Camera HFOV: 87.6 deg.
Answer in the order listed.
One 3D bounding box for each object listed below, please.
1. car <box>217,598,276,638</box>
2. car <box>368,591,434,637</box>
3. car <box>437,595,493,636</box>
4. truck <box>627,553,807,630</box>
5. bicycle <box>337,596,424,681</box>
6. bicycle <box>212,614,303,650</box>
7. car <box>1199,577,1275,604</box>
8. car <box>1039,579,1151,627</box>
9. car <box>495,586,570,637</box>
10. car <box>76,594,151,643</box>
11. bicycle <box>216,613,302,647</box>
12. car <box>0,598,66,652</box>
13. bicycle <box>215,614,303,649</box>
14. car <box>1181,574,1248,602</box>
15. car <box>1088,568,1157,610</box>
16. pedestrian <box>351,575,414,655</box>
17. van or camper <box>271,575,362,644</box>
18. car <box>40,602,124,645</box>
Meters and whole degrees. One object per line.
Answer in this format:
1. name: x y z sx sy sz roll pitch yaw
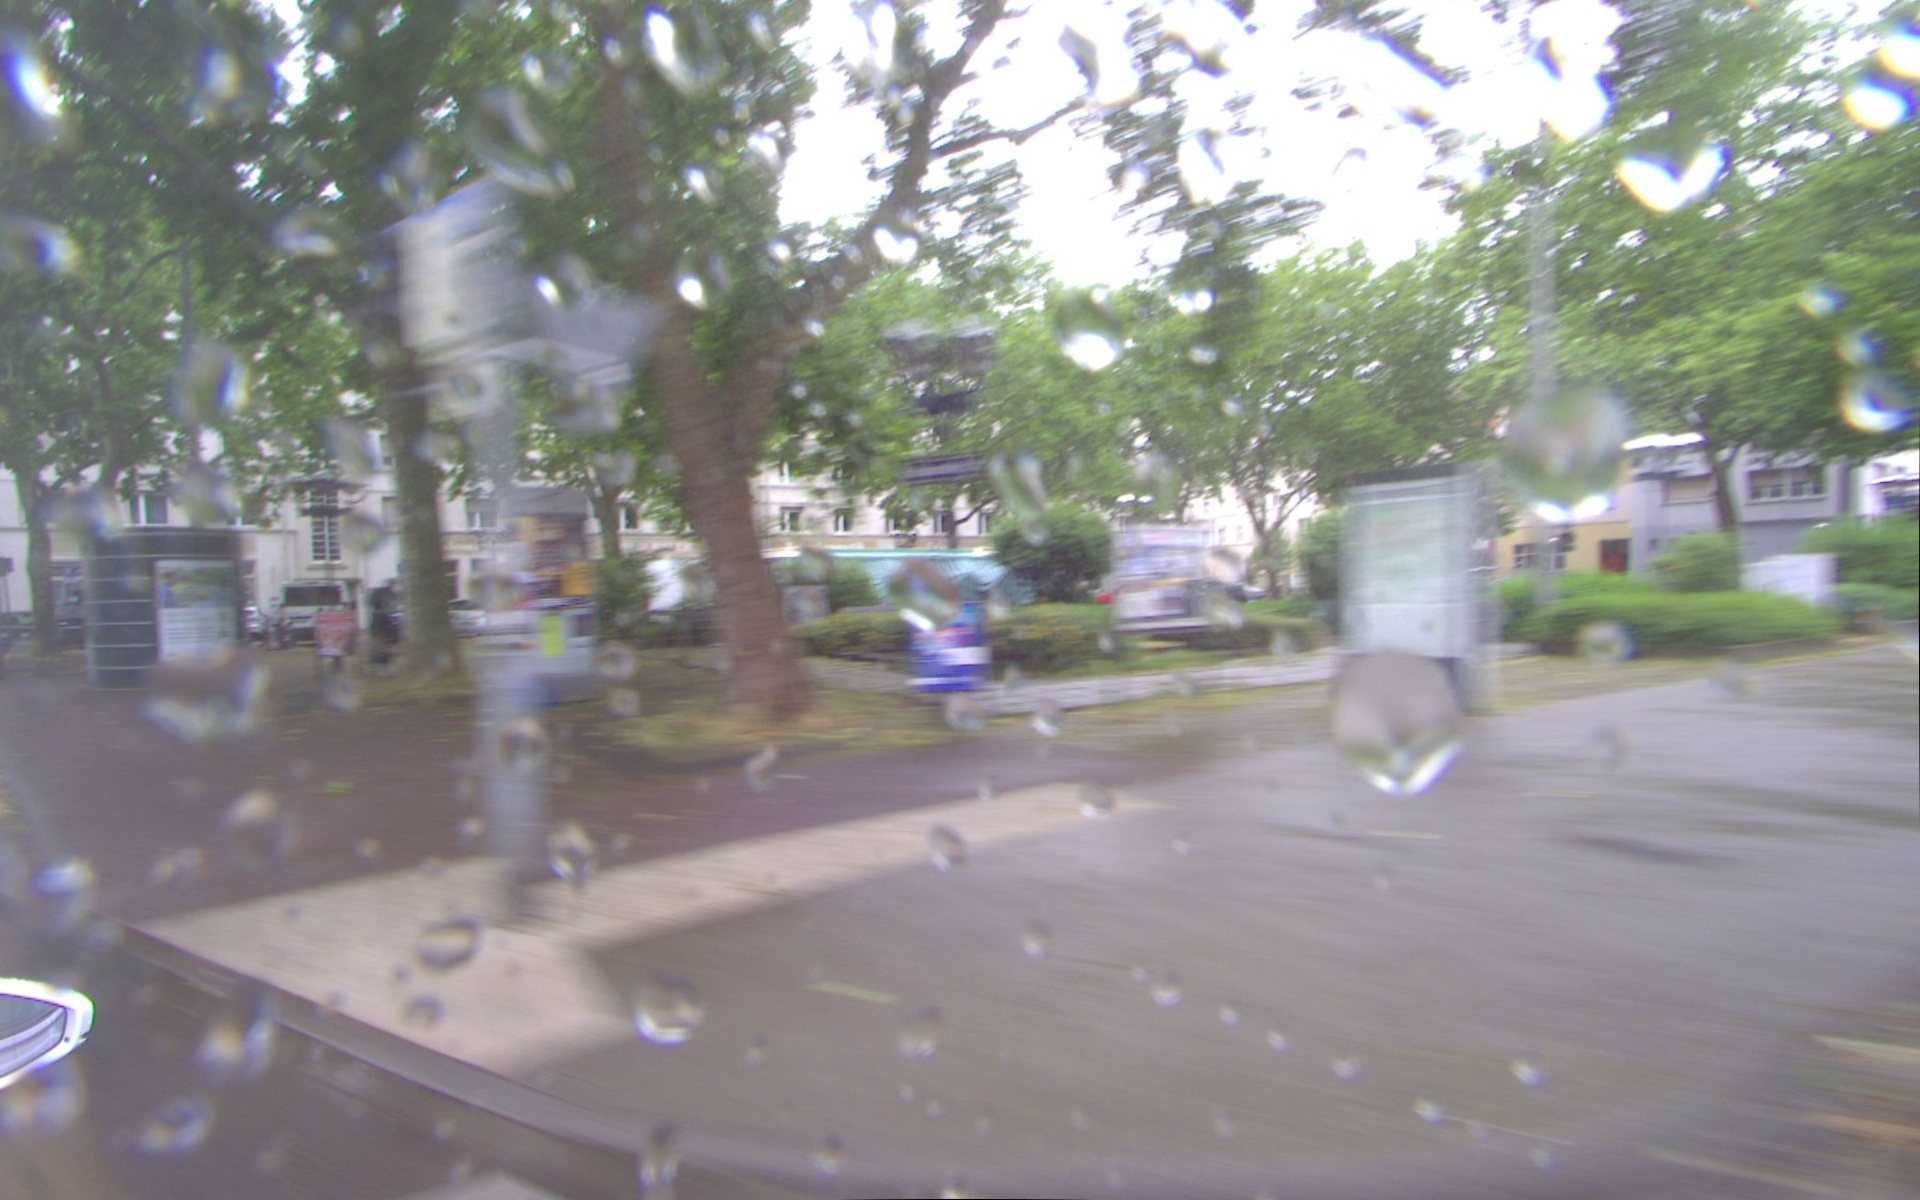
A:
1. car: -31.383 0.792 44.123 1.974 1.649 4.600 1 -1 -34
2. car: -21.049 0.532 37.656 1.664 1.596 3.709 -2 0 -36
3. car: -19.518 0.633 39.398 1.661 1.450 3.717 -2 -1 -31
4. truck: -9.240 -0.374 38.478 6.319 2.736 2.251 -2 1 -36
5. bicycle: -10.742 0.664 18.666 0.738 1.396 2.701 -2 2 -17
6. bicycle: -21.872 0.974 31.230 2.258 0.996 0.542 -2 2 -34
7. car: 17.936 -0.605 65.075 1.974 1.649 4.600 1 -1 -34
8. car: 4.638 0.089 34.750 1.650 1.542 3.645 -3 2 -42
9. car: -17.390 0.487 40.616 2.132 1.861 3.978 -2 -1 -32
10. car: -27.986 0.630 33.081 3.355 1.475 1.515 -3 -1 44
11. bicycle: -22.598 0.969 32.334 2.224 0.981 0.581 -2 2 -34
12. car: -29.527 0.820 31.747 1.675 1.571 3.493 -3 -1 -41
13. bicycle: -22.215 0.980 31.781 2.229 0.981 0.531 -2 2 -34
14. car: 15.903 -0.737 62.720 1.692 1.639 3.978 -1 0 -31
15. car: 9.354 -0.608 57.830 1.532 2.232 4.076 -2 -1 -32
16. pedestrian: -10.786 0.259 18.740 0.733 1.417 1.045 -2 2 -16
17. van or camper: -23.232 0.304 36.368 2.369 2.261 5.402 -2 1 -29
18. car: -35.574 0.926 40.687 1.974 1.649 4.600 1 -1 -34
